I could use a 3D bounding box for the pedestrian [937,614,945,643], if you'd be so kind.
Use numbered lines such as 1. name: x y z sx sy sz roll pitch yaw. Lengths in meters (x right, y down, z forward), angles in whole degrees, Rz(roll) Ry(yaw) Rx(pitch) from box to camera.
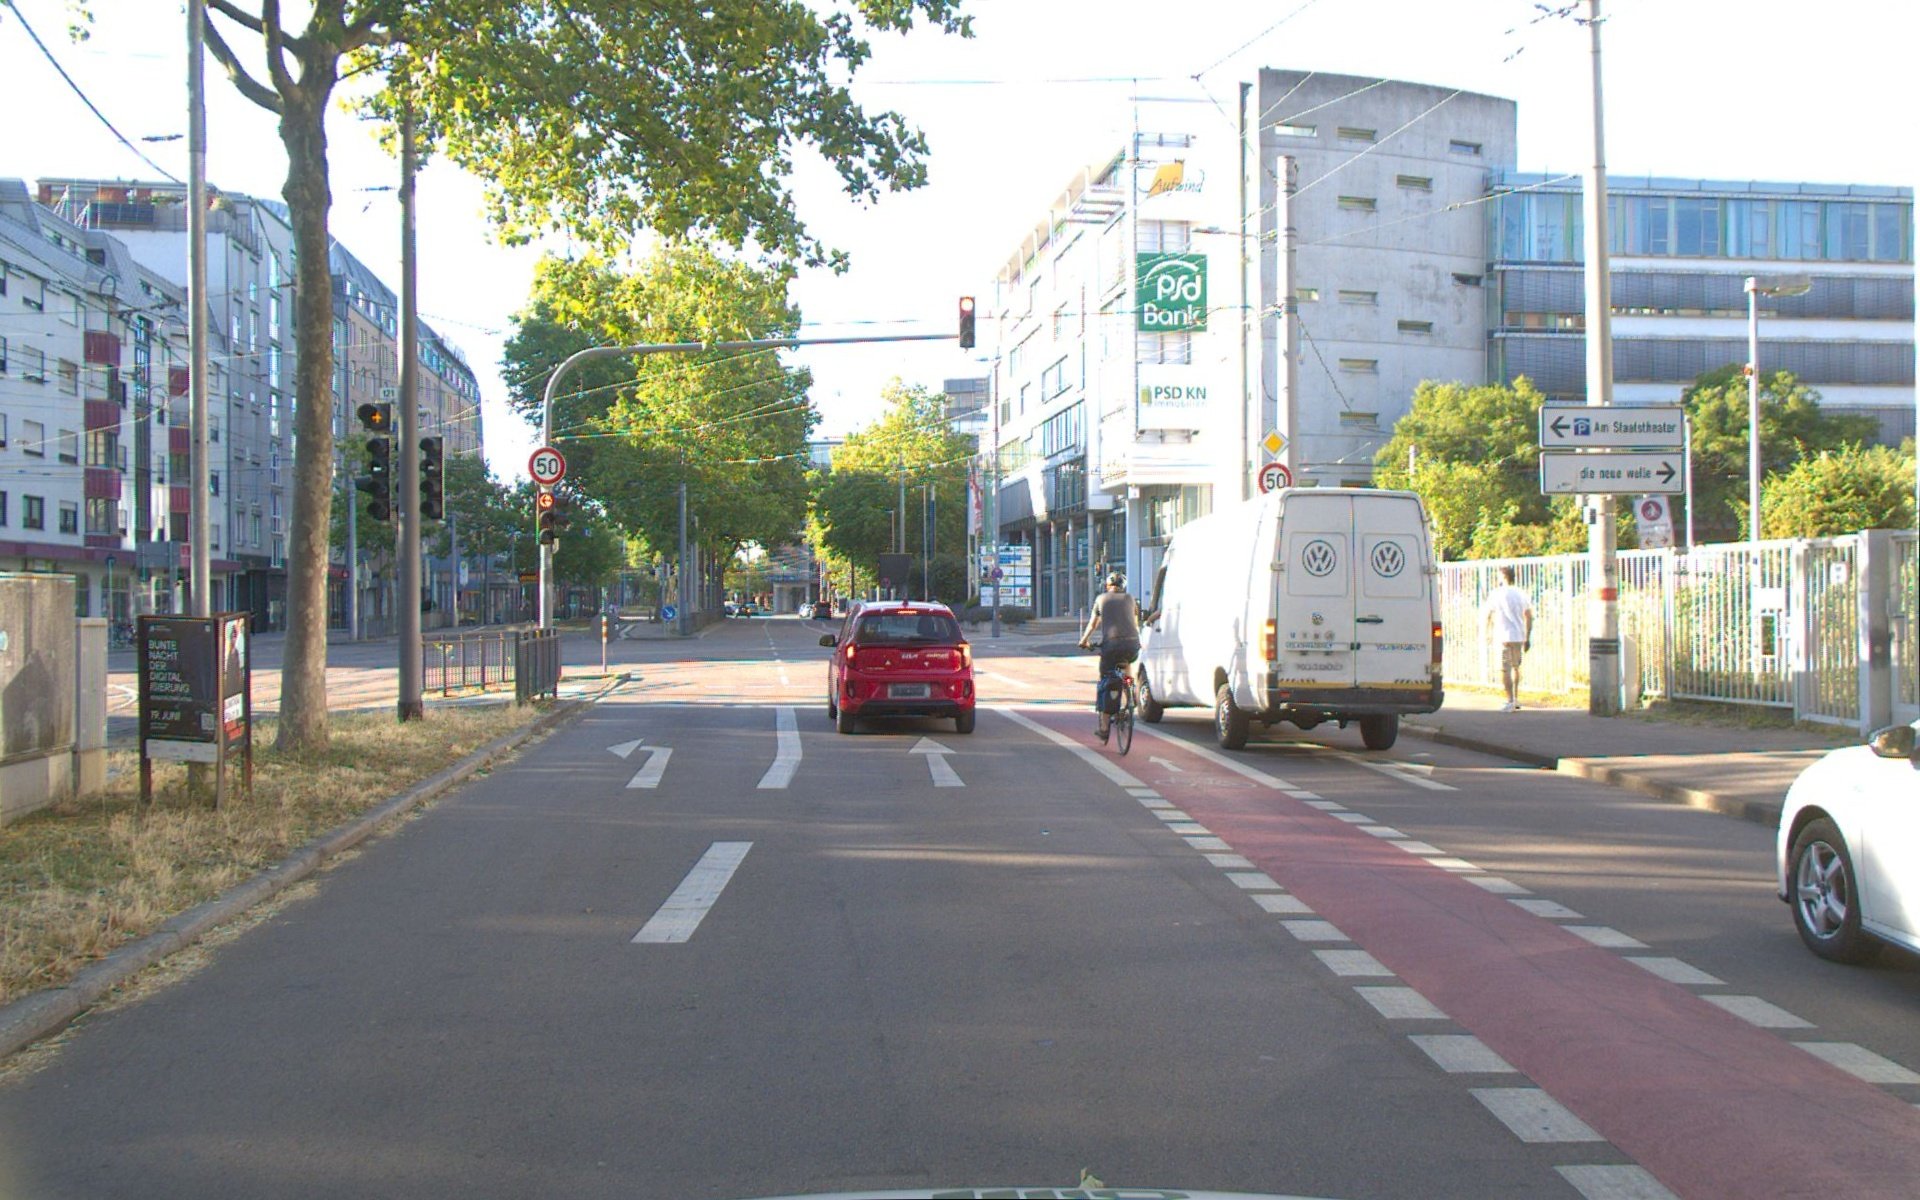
1. pedestrian: -1.025 1.567 90.449 0.291 1.589 0.352 -1 0 -33

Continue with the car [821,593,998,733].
1. car: -0.704 0.689 20.176 1.804 1.515 3.710 -1 0 -7

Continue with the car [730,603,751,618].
1. car: -24.882 1.181 187.515 2.021 1.682 3.481 -1 0 -12

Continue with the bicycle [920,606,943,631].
1. bicycle: -1.402 0.889 81.386 0.778 1.182 2.494 -1 0 -9

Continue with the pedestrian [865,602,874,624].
1. pedestrian: -7.384 1.079 134.945 0.728 1.746 0.747 -1 0 -5

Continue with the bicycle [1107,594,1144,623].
1. bicycle: 8.904 0.460 88.938 1.899 1.468 0.574 -1 0 -9

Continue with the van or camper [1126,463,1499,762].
1. van or camper: 3.695 0.124 18.917 2.225 2.781 6.337 2 0 -6

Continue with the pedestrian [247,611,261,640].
1. pedestrian: -37.392 1.355 87.650 0.500 1.484 0.528 -1 0 -2

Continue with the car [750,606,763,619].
1. car: -26.250 1.638 213.255 1.627 1.635 3.524 -1 0 -8

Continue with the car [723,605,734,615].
1. car: -32.524 1.379 232.630 1.545 1.329 3.333 -1 0 -8

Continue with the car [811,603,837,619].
1. car: -14.374 1.150 174.534 2.433 1.555 4.422 -2 0 -9

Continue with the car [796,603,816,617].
1. car: -17.931 1.176 192.201 1.851 1.555 4.420 -1 0 -10

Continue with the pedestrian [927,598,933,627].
1. pedestrian: -1.651 0.682 90.311 0.288 1.589 0.302 -1 0 -6

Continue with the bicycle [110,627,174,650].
1. bicycle: -31.652 1.478 63.991 2.130 0.838 0.526 -1 0 -11

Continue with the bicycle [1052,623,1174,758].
1. bicycle: 1.536 0.887 17.005 0.730 1.245 2.151 1 0 -9

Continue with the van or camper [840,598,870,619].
1. van or camper: -9.216 0.738 145.212 2.106 1.781 4.420 -1 0 -10

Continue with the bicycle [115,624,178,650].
1. bicycle: -31.779 1.431 64.622 2.130 0.967 0.490 -1 0 -11

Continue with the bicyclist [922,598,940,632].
1. bicyclist: -1.426 0.741 81.557 0.771 1.663 0.637 -1 0 -10

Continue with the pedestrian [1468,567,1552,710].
1. pedestrian: 7.057 0.485 21.253 0.770 1.779 0.771 -1 0 -3

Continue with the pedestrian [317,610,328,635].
1. pedestrian: -38.602 1.357 100.098 0.501 1.484 0.527 -1 0 -9

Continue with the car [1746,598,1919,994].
1. car: 4.578 0.767 5.910 1.764 1.527 3.982 1 0 2

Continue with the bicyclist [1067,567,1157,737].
1. bicyclist: 1.554 0.524 16.988 0.729 1.698 0.743 1 0 -10

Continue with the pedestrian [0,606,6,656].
1. pedestrian: -33.232 1.069 56.867 0.499 1.728 0.528 -1 0 16
